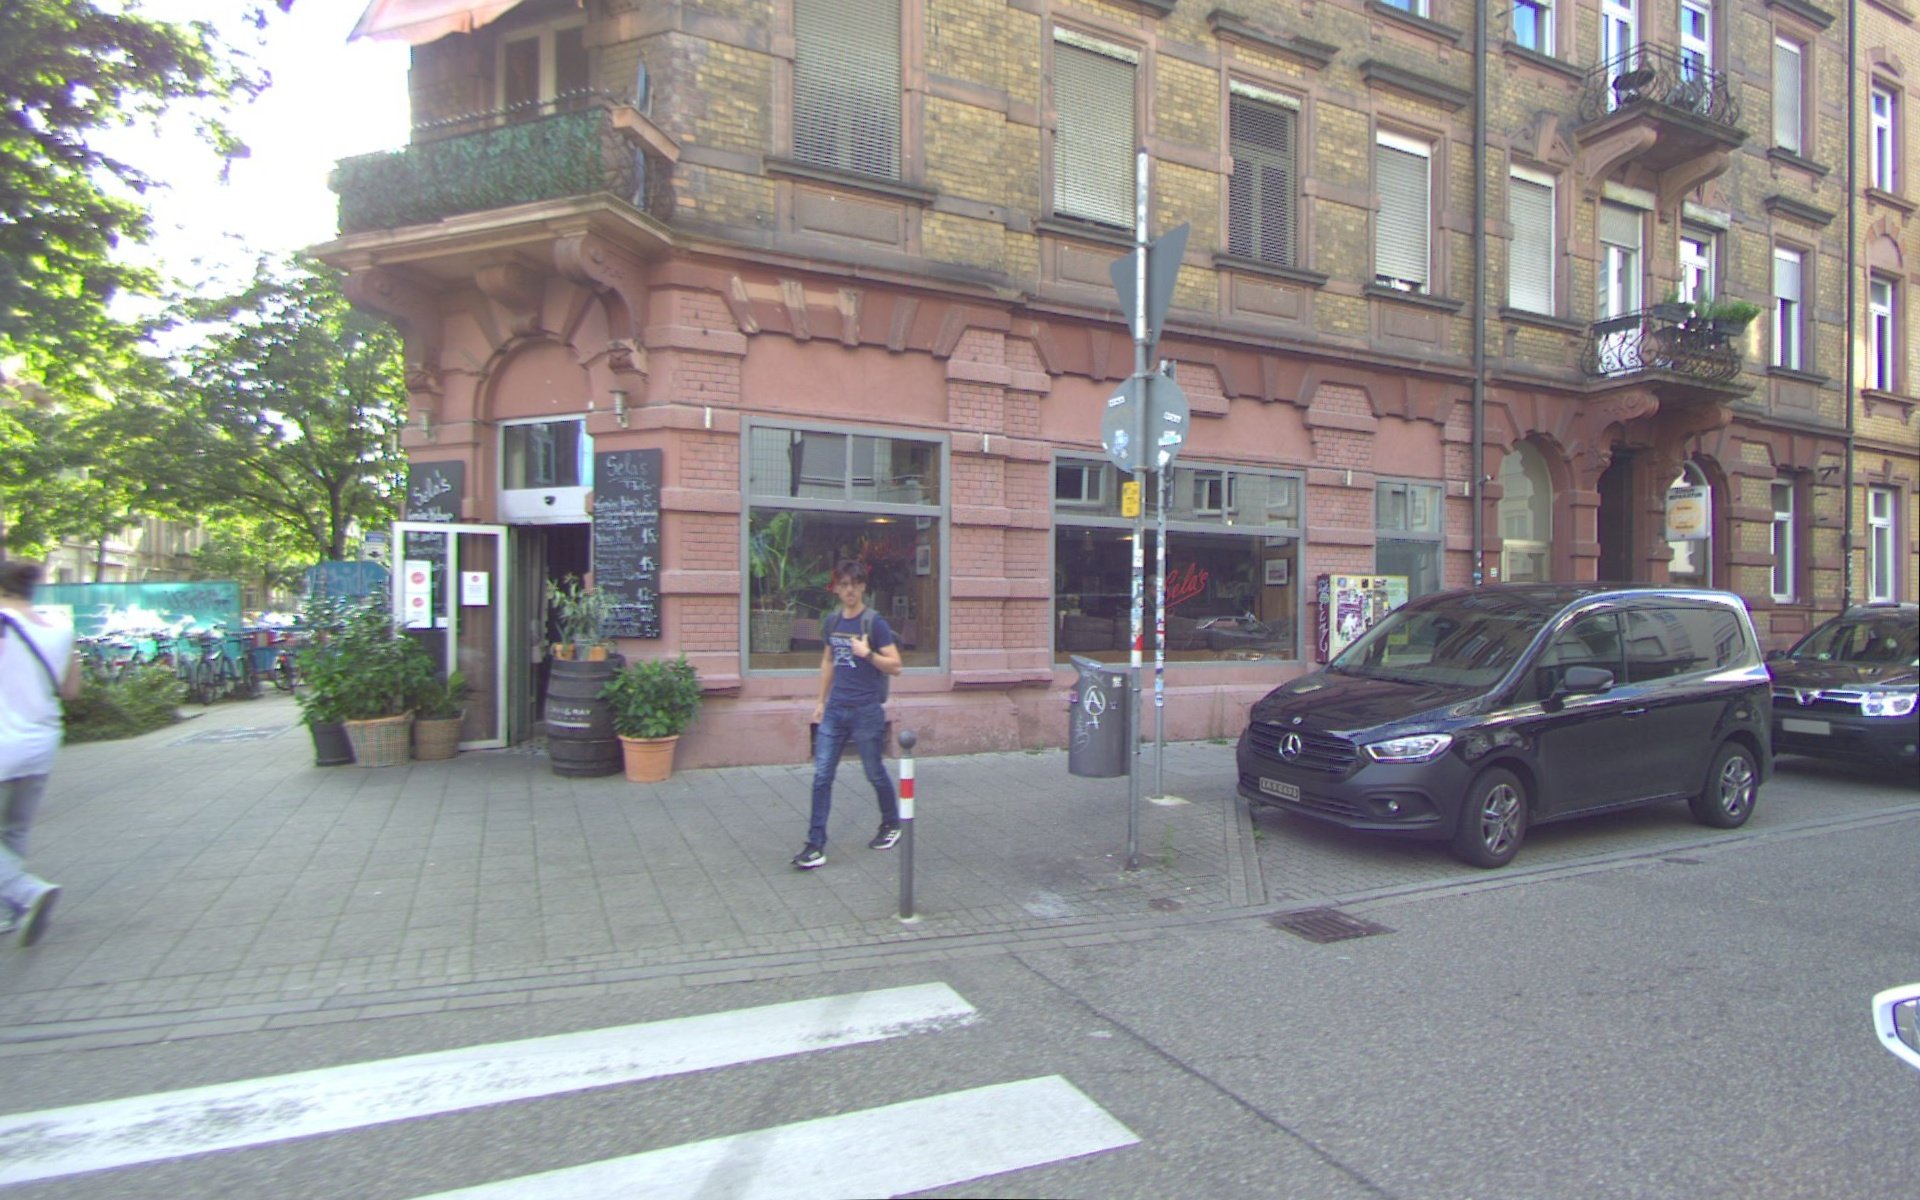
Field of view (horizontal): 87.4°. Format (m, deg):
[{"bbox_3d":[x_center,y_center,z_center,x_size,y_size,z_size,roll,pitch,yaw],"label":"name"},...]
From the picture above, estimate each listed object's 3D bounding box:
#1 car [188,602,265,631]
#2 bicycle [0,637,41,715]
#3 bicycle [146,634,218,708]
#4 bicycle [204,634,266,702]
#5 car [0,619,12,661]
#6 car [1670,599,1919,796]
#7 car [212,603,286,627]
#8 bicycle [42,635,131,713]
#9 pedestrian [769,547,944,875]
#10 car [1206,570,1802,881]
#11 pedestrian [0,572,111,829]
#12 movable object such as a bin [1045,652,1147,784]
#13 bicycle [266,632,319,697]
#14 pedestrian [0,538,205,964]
[{"bbox_3d":[-42.585,0.947,58.403,3.312,1.615,1.587,0,1,-23],"label":"car"},{"bbox_3d":[-13.917,1.081,14.427,0.584,1.043,2.060,-1,0,-30],"label":"bicycle"},{"bbox_3d":[-12.192,1.074,15.795,0.584,1.025,2.060,-1,0,-30],"label":"bicycle"},{"bbox_3d":[-11.843,1.072,16.452,0.584,0.981,2.060,-1,0,-30],"label":"bicycle"},{"bbox_3d":[-30.040,1.184,29.191,3.292,1.270,1.369,0,-2,-24],"label":"car"},{"bbox_3d":[9.490,0.838,10.247,4.091,1.660,1.987,1,0,-26],"label":"car"},{"bbox_3d":[-45.457,0.928,64.285,3.671,1.492,1.791,0,1,-29],"label":"car"},{"bbox_3d":[-13.084,1.079,15.100,0.584,1.025,2.060,-1,0,-30],"label":"bicycle"},{"bbox_3d":[-0.628,0.621,6.233,0.667,1.865,0.855,2,2,34],"label":"pedestrian"},{"bbox_3d":[4.146,0.731,7.563,4.348,1.797,1.754,1,1,-26],"label":"car"},{"bbox_3d":[-6.192,0.631,6.635,0.606,1.599,0.805,-3,2,-24],"label":"pedestrian"},{"bbox_3d":[0.817,0.694,6.053,0.470,0.724,0.381,0,1,-29],"label":"movable object such as a bin"},{"bbox_3d":[-11.420,1.069,17.229,0.584,0.981,2.060,-1,0,-30],"label":"bicycle"},{"bbox_3d":[-4.177,0.606,4.495,1.002,1.693,0.805,1,-1,18],"label":"pedestrian"}]
